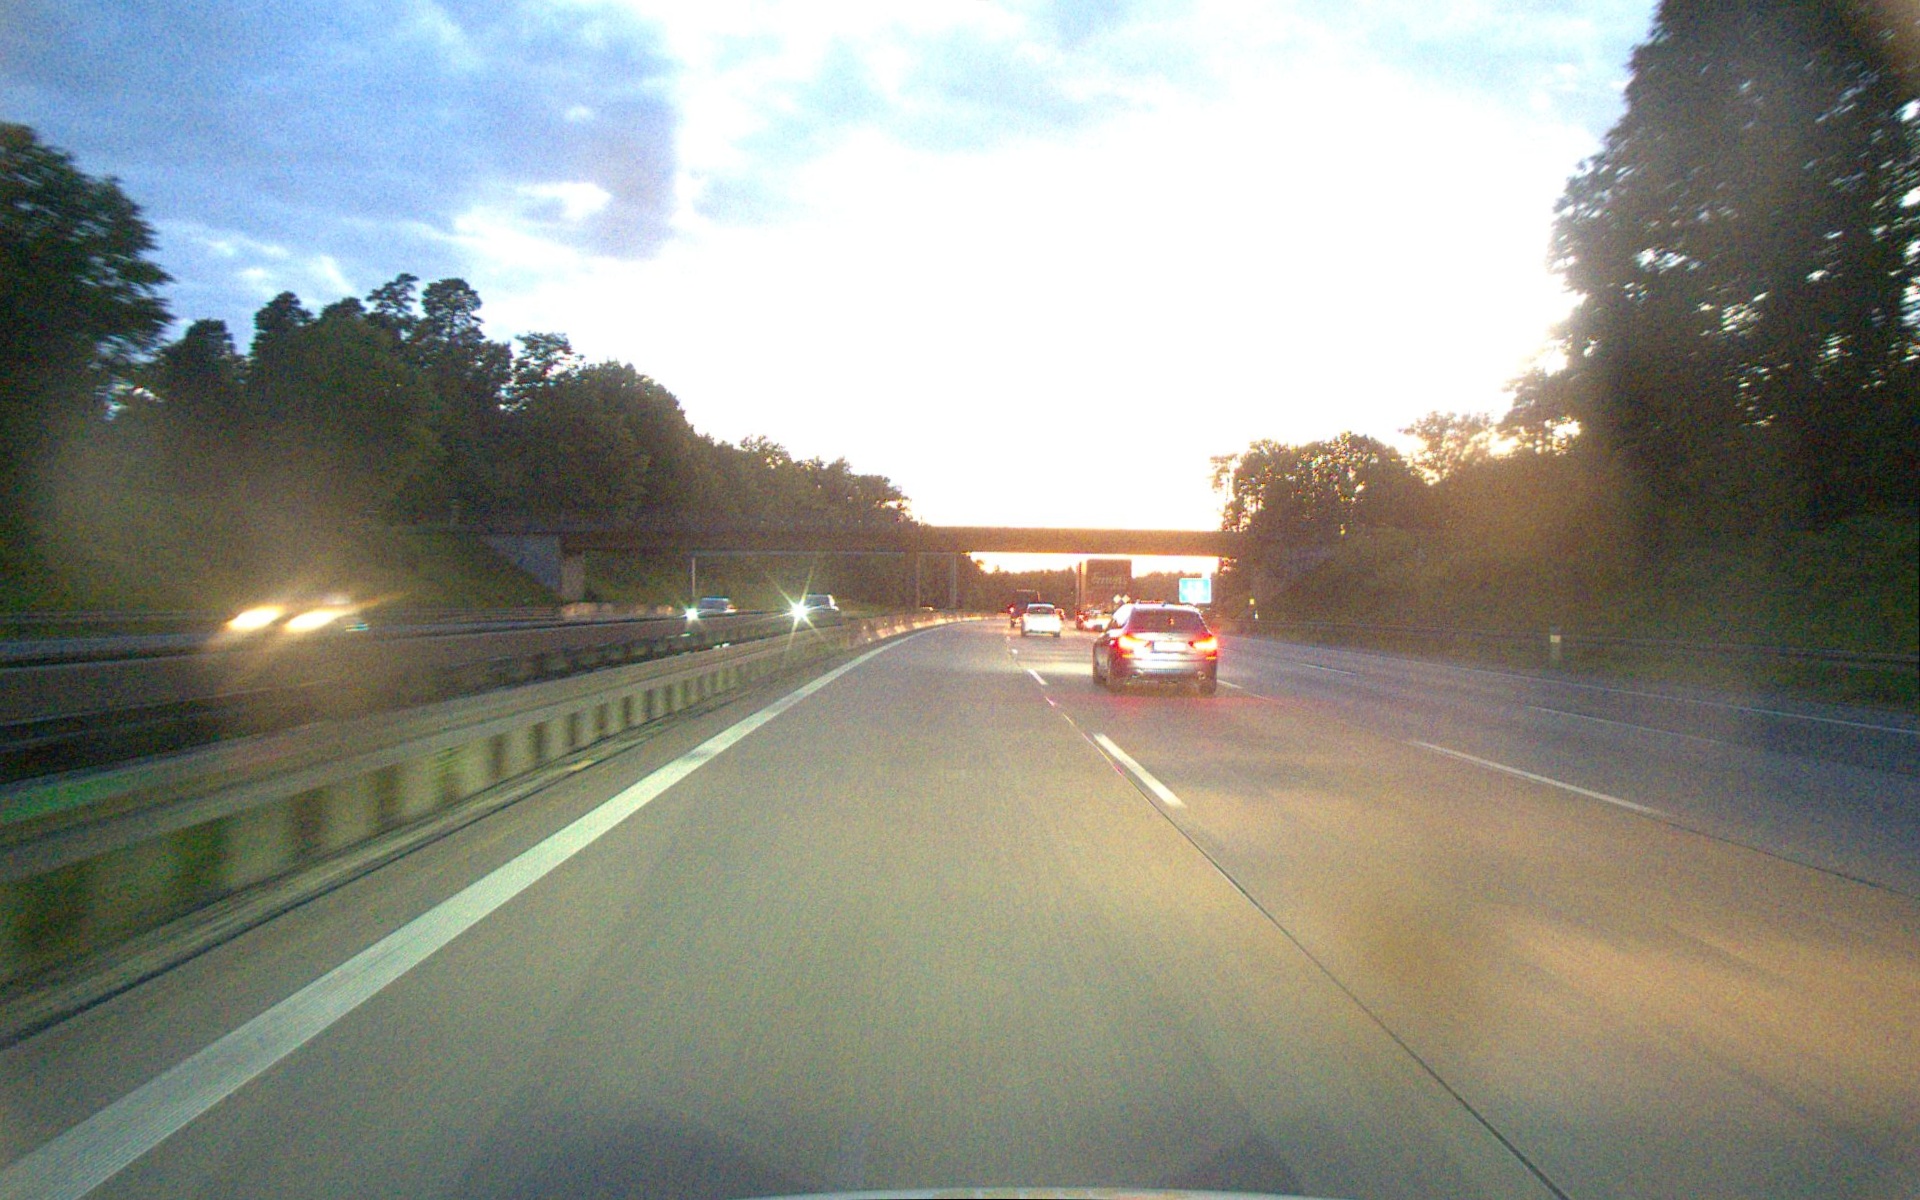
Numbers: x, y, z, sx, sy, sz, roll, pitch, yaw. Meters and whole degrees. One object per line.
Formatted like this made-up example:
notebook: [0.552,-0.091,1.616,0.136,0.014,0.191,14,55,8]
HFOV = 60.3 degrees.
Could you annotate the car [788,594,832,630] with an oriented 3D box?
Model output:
car: [-8.165,0.629,90.497,1.953,1.829,4.831,1,0,0]

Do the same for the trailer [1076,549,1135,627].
trailer: [8.320,-0.569,95.621,2.847,4.173,10.359,1,-1,2]

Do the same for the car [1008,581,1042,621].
car: [4.256,0.087,109.051,2.121,2.461,5.564,1,-2,2]

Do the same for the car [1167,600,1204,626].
car: [13.105,0.785,96.287,1.820,1.467,4.113,1,-1,4]

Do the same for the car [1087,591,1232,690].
car: [3.447,0.648,29.560,1.870,1.564,5.230,1,1,-1]

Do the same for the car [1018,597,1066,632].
car: [3.649,0.629,74.222,1.822,1.467,3.719,1,0,-2]

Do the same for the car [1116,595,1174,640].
car: [7.176,0.690,64.456,1.863,1.672,5.053,1,-1,2]

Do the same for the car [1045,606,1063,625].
car: [12.299,2.063,216.997,2.121,2.461,5.564,1,-2,2]

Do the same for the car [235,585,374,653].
car: [-15.383,0.430,39.011,1.805,1.480,3.602,1,0,1]

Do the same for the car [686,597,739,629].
car: [-11.761,0.598,78.916,1.836,1.468,4.451,1,1,0]
